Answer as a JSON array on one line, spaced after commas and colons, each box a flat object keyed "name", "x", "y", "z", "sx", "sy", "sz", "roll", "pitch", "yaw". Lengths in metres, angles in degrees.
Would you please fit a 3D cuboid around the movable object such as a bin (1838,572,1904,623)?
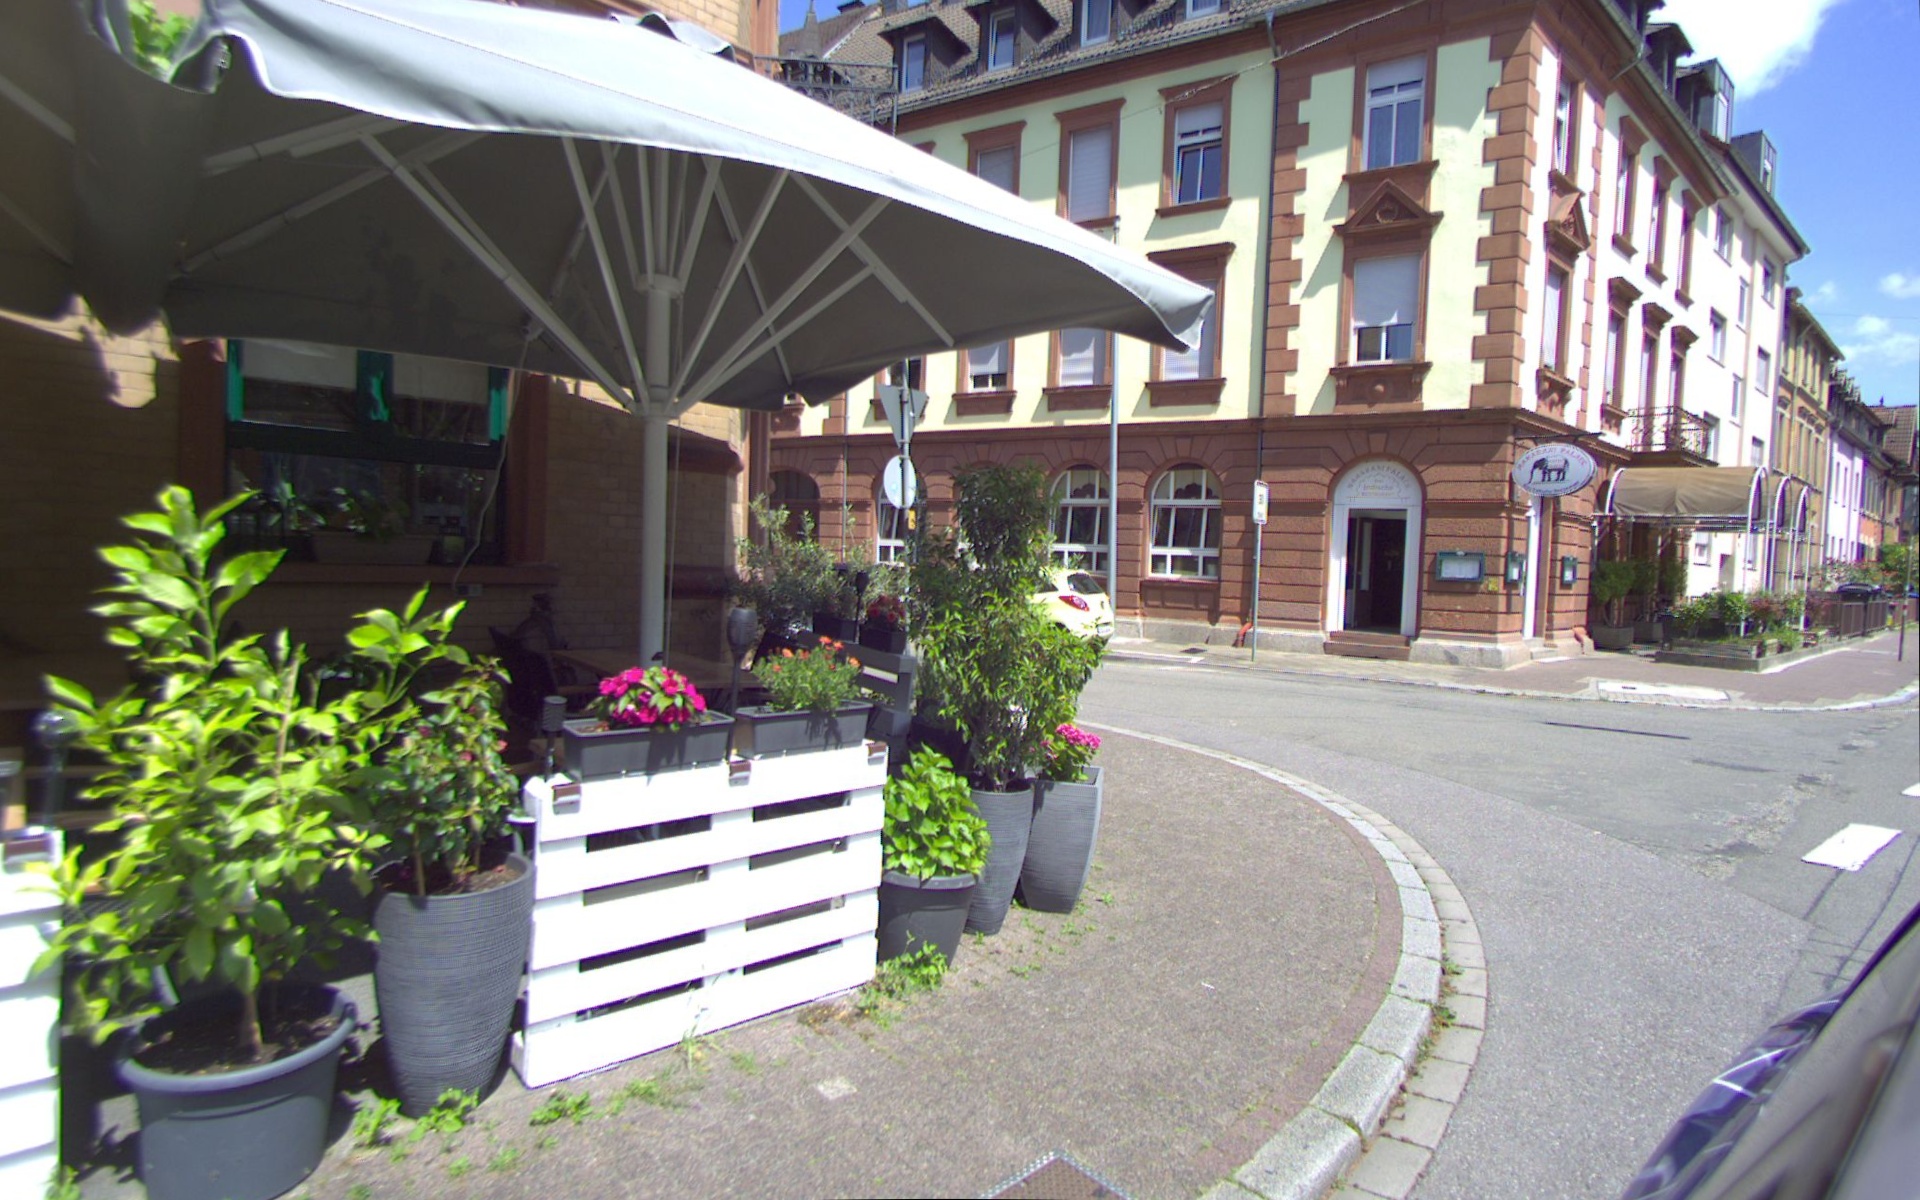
[{"name": "movable object such as a bin", "x": 27.437, "y": -0.083, "z": 30.481, "sx": 1.282, "sy": 1.427, "sz": 1.284, "roll": 0, "pitch": 3, "yaw": -42}]

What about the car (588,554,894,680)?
[{"name": "car", "x": -3.024, "y": 0.138, "z": 13.647, "sx": 3.978, "sy": 1.381, "sz": 1.891, "roll": 3, "pitch": 2, "yaw": 37}]

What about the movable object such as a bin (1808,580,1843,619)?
[{"name": "movable object such as a bin", "x": 27.583, "y": -0.025, "z": 32.258, "sx": 0.735, "sy": 1.182, "sz": 0.722, "roll": 0, "pitch": 3, "yaw": -44}]

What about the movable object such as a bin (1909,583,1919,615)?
[{"name": "movable object such as a bin", "x": 38.052, "y": -0.036, "z": 39.956, "sx": 0.863, "sy": 1.257, "sz": 0.752, "roll": 0, "pitch": 3, "yaw": -44}]

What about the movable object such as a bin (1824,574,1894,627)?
[{"name": "movable object such as a bin", "x": 25.429, "y": -0.008, "z": 28.618, "sx": 1.389, "sy": 1.413, "sz": 1.284, "roll": 0, "pitch": 3, "yaw": -42}]

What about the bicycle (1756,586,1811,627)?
[{"name": "bicycle", "x": 20.770, "y": 0.154, "z": 25.516, "sx": 1.597, "sy": 0.995, "sz": 0.553, "roll": 0, "pitch": 2, "yaw": -32}]

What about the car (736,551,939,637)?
[{"name": "car", "x": -2.548, "y": -0.206, "z": 20.720, "sx": 3.974, "sy": 1.497, "sz": 1.783, "roll": 3, "pitch": 5, "yaw": 34}]

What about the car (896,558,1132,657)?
[{"name": "car", "x": 0.930, "y": 0.043, "z": 18.429, "sx": 3.974, "sy": 1.497, "sz": 1.783, "roll": 3, "pitch": 5, "yaw": 34}]

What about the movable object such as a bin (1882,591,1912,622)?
[{"name": "movable object such as a bin", "x": 29.765, "y": 0.206, "z": 32.132, "sx": 0.602, "sy": 0.939, "sz": 0.625, "roll": 0, "pitch": 3, "yaw": -44}]

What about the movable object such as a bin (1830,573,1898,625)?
[{"name": "movable object such as a bin", "x": 26.434, "y": -0.047, "z": 29.582, "sx": 1.341, "sy": 1.413, "sz": 1.284, "roll": 0, "pitch": 3, "yaw": -42}]
